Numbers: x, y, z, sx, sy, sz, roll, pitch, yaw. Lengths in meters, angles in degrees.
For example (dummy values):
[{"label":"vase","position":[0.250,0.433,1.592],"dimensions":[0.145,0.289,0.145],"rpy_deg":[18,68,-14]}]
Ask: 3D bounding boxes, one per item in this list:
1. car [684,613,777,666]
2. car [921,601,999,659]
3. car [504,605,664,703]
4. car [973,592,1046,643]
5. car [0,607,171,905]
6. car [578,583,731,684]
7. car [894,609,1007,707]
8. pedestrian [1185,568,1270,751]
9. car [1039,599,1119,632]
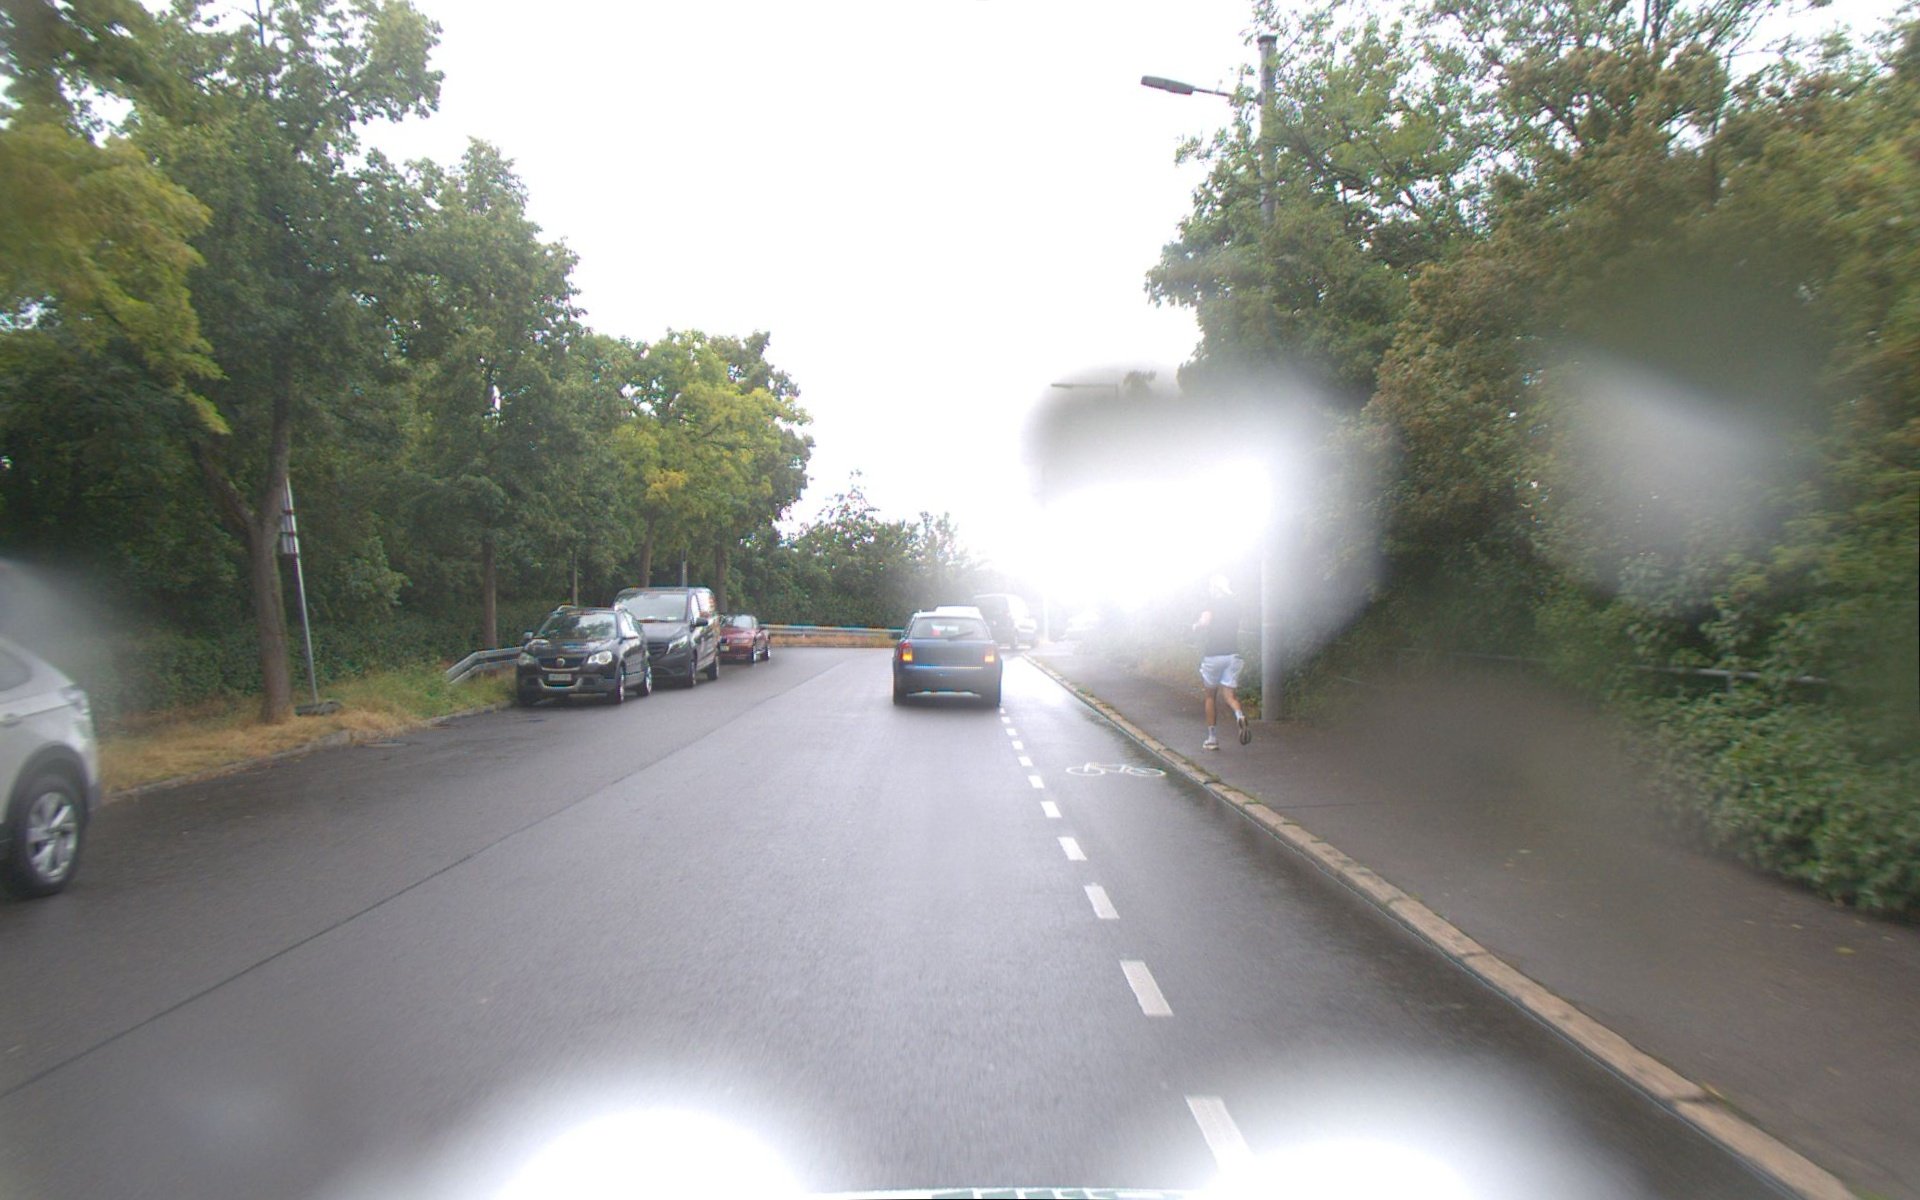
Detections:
[{"label":"car","position":[-6.084,1.035,44.300],"dimensions":[1.752,1.320,4.326],"rpy_deg":[-1,-1,2]},{"label":"car","position":[0.044,0.776,43.244],"dimensions":[1.851,1.413,4.001],"rpy_deg":[0,-1,2]},{"label":"car","position":[-6.101,0.841,27.293],"dimensions":[1.761,1.463,4.254],"rpy_deg":[-1,-1,-1]},{"label":"car","position":[1.717,0.597,56.229],"dimensions":[1.783,1.645,3.788],"rpy_deg":[-1,-1,13]},{"label":"car","position":[-5.573,0.783,7.698],"dimensions":[1.654,1.463,4.256],"rpy_deg":[-1,-1,1]},{"label":"car","position":[-6.030,0.647,33.269],"dimensions":[2.041,1.851,5.380],"rpy_deg":[-1,-1,0]},{"label":"car","position":[-0.162,0.880,26.929],"dimensions":[1.711,1.432,4.000],"rpy_deg":[0,0,-1]},{"label":"pedestrian","position":[2.826,0.616,17.574],"dimensions":[0.702,1.867,1.021],"rpy_deg":[-2,0,1]},{"label":"car","position":[4.744,0.610,65.610],"dimensions":[1.787,1.223,3.780],"rpy_deg":[-2,-1,28]}]
